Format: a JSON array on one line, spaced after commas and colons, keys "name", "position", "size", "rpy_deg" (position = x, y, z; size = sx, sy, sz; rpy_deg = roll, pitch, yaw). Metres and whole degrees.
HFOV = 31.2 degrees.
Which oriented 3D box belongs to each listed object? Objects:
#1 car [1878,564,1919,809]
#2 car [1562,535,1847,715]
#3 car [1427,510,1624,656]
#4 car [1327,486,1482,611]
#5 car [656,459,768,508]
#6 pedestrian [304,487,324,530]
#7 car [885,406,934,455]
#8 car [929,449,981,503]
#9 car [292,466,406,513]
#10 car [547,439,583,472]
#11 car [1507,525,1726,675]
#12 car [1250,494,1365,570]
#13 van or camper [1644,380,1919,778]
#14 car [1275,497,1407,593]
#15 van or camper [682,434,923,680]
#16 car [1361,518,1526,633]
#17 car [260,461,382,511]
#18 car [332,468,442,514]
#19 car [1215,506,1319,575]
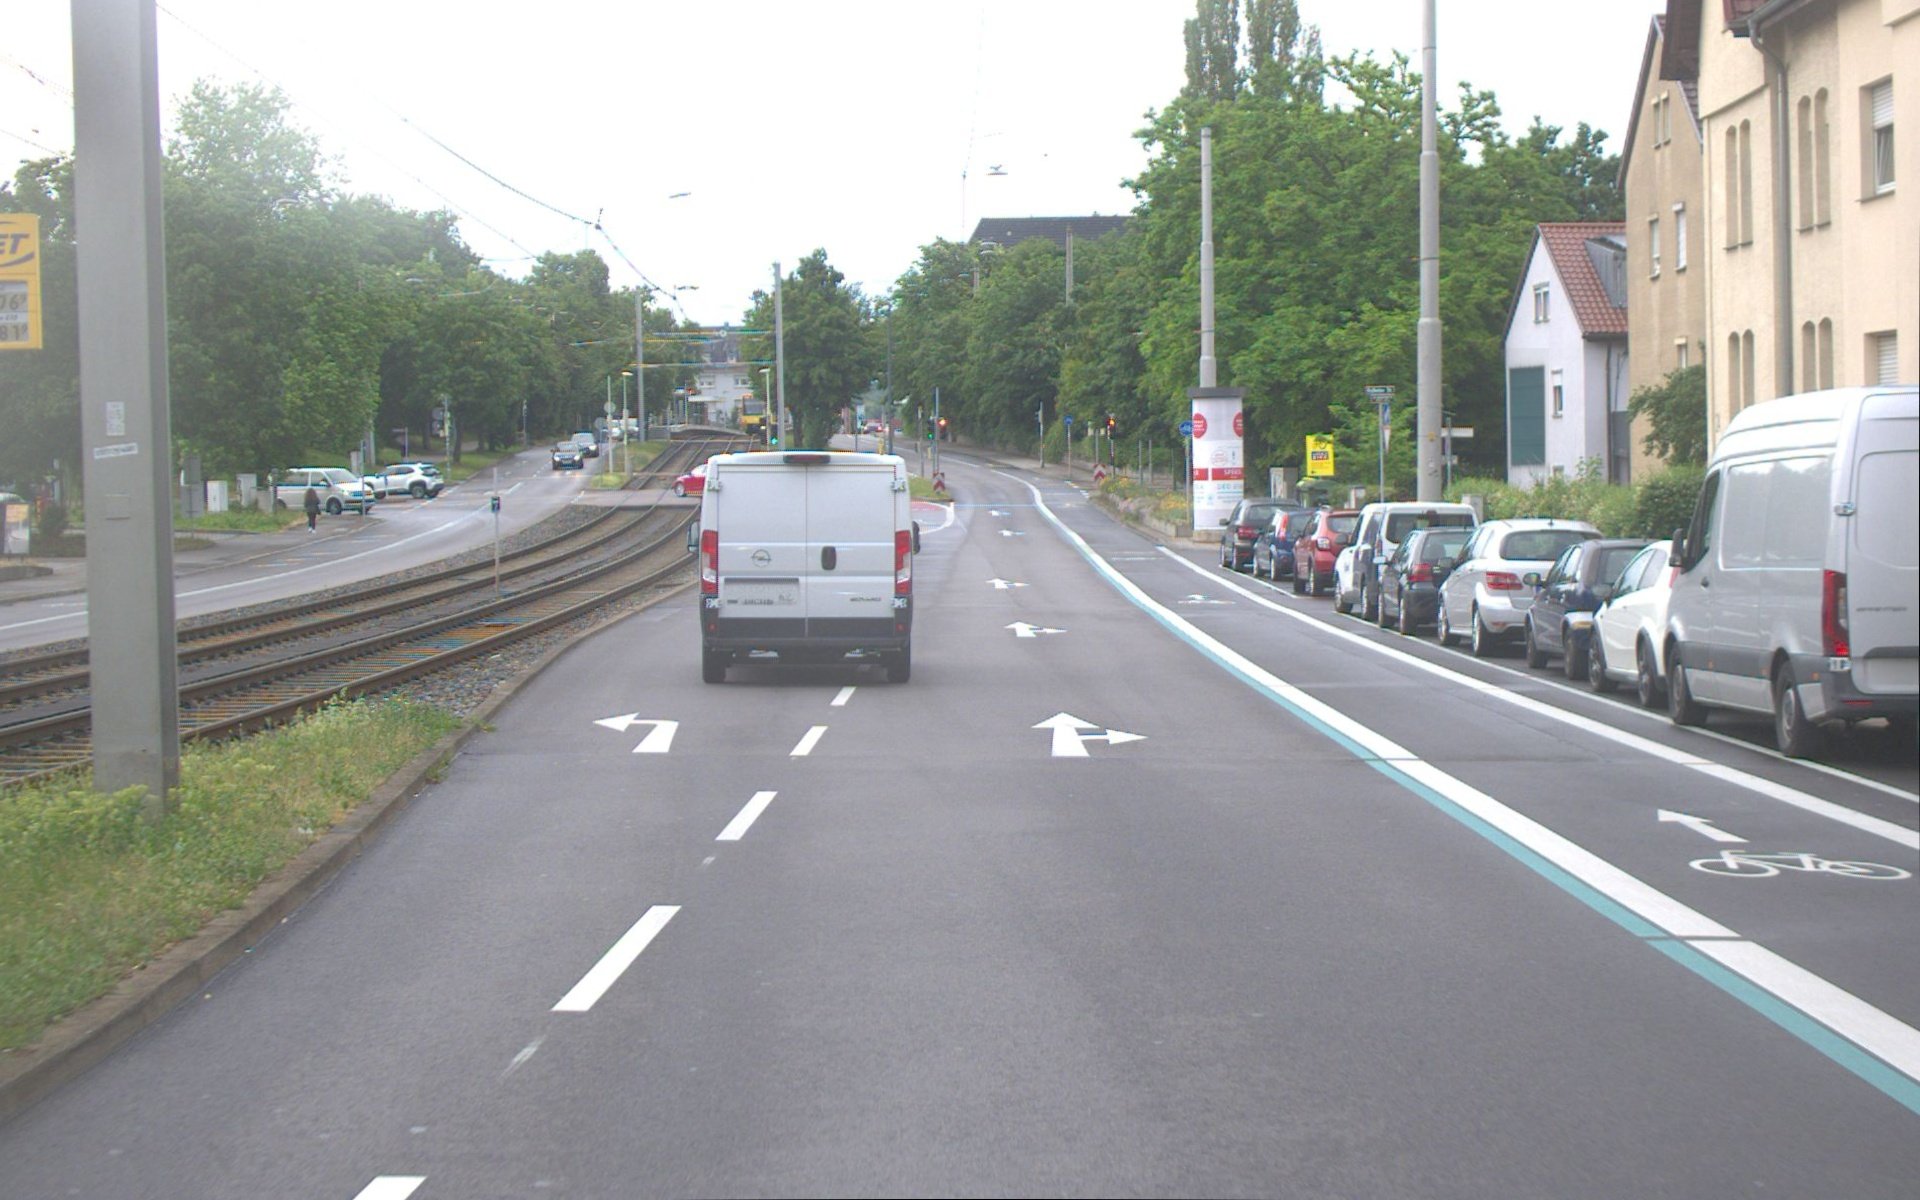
[{"name": "car", "position": [6.544, 0.564, 18.373], "size": [1.788, 1.401, 4.554], "rpy_deg": [1, 2, -3]}, {"name": "car", "position": [6.724, 0.177, 31.442], "size": [1.708, 1.441, 4.041], "rpy_deg": [1, 2, 0]}, {"name": "car", "position": [6.748, -0.250, 41.368], "size": [1.646, 1.609, 4.105], "rpy_deg": [1, 2, 0]}, {"name": "car", "position": [6.729, -0.823, 52.424], "size": [1.747, 1.801, 3.955], "rpy_deg": [0, 2, -1]}, {"name": "car", "position": [-10.473, -4.913, 145.149], "size": [4.523, 2.007, 1.996], "rpy_deg": [2, 1, 38]}, {"name": "pedestrian", "position": [-22.217, -3.151, 118.202], "size": [0.612, 1.470, 0.643], "rpy_deg": [-2, 1, -13]}, {"name": "car", "position": [-2.259, -7.524, 152.889], "size": [1.993, 2.007, 4.001], "rpy_deg": [1, 1, -3]}, {"name": "car", "position": [-0.206, -4.832, 134.499], "size": [1.993, 2.007, 4.000], "rpy_deg": [1, 1, 0]}, {"name": "car", "position": [-26.951, -4.876, 151.653], "size": [4.518, 2.007, 1.998], "rpy_deg": [1, 1, 22]}, {"name": "car", "position": [-21.785, -7.973, 189.673], "size": [1.690, 1.706, 3.777], "rpy_deg": [1, 1, -2]}, {"name": "car", "position": [6.828, -0.041, 36.064], "size": [1.626, 1.443, 3.707], "rpy_deg": [1, 2, 1]}, {"name": "car", "position": [7.066, -1.397, 70.181], "size": [1.847, 1.494, 3.955], "rpy_deg": [0, 1, -1]}, {"name": "van or camper", "position": [6.637, -0.242, 25.176], "size": [1.993, 2.554, 6.044], "rpy_deg": [1, 2, 0]}, {"name": "car", "position": [6.865, -1.021, 62.243], "size": [1.847, 1.640, 3.955], "rpy_deg": [0, 2, -1]}, {"name": "van or camper", "position": [-1.598, -0.440, 34.187], "size": [2.198, 2.245, 4.685], "rpy_deg": [1, 1, -3]}, {"name": "car", "position": [6.565, -0.366, 47.044], "size": [1.646, 1.441, 3.955], "rpy_deg": [1, 2, 0]}, {"name": "car", "position": [-26.189, -4.672, 140.949], "size": [4.518, 2.007, 1.998], "rpy_deg": [1, 1, 22]}, {"name": "car", "position": [-25.916, -4.930, 155.484], "size": [4.518, 2.007, 1.998], "rpy_deg": [1, 1, 22]}, {"name": "car", "position": [6.770, -1.330, 76.099], "size": [1.847, 1.494, 3.955], "rpy_deg": [0, 1, -1]}]
